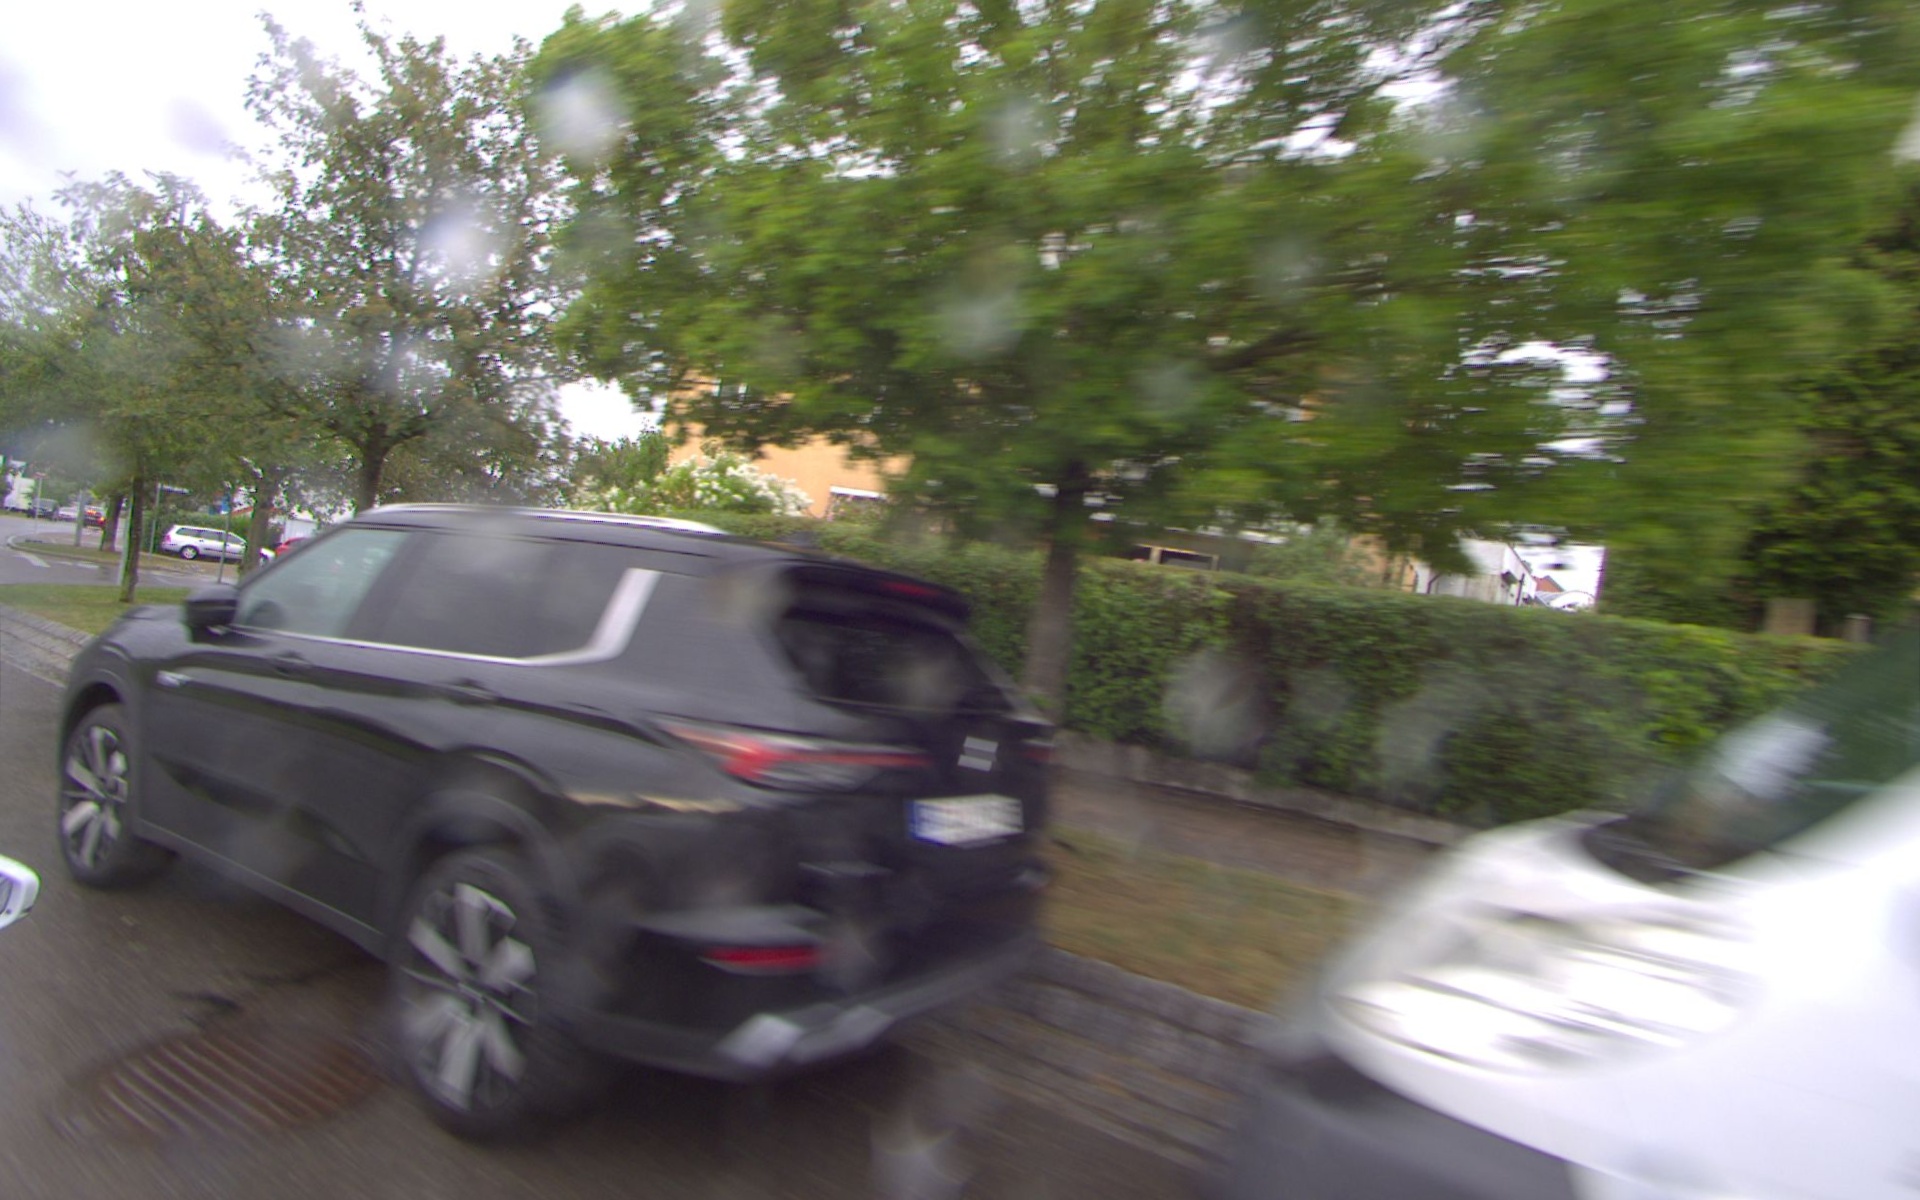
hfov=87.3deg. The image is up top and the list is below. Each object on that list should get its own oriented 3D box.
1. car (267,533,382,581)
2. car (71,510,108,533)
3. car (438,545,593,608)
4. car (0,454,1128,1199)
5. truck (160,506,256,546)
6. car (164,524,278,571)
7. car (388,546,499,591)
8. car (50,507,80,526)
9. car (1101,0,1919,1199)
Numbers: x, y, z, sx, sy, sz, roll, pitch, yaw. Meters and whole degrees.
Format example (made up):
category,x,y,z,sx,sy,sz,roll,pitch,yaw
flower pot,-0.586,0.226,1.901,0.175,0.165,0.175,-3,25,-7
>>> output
category,x,y,z,sx,sy,sz,roll,pitch,yaw
car,-26.212,-1.760,41.541,3.901,1.493,1.879,6,0,18
car,-72.119,-6.507,83.387,1.678,1.570,3.661,9,-1,-35
car,-15.514,-0.781,35.348,1.843,1.676,4.671,7,0,31
car,-1.863,0.517,4.100,4.523,1.723,1.812,7,-2,32
truck,-71.138,-6.992,95.353,6.803,2.760,2.626,7,0,-28
car,-34.077,-2.411,46.446,4.075,1.585,1.978,7,0,-39
car,-22.305,-1.368,43.483,3.863,1.434,1.815,6,0,9
car,-89.460,-8.328,100.590,1.865,1.616,3.959,6,0,-37
car,3.120,0.682,1.078,5.415,2.496,2.123,7,-1,29
